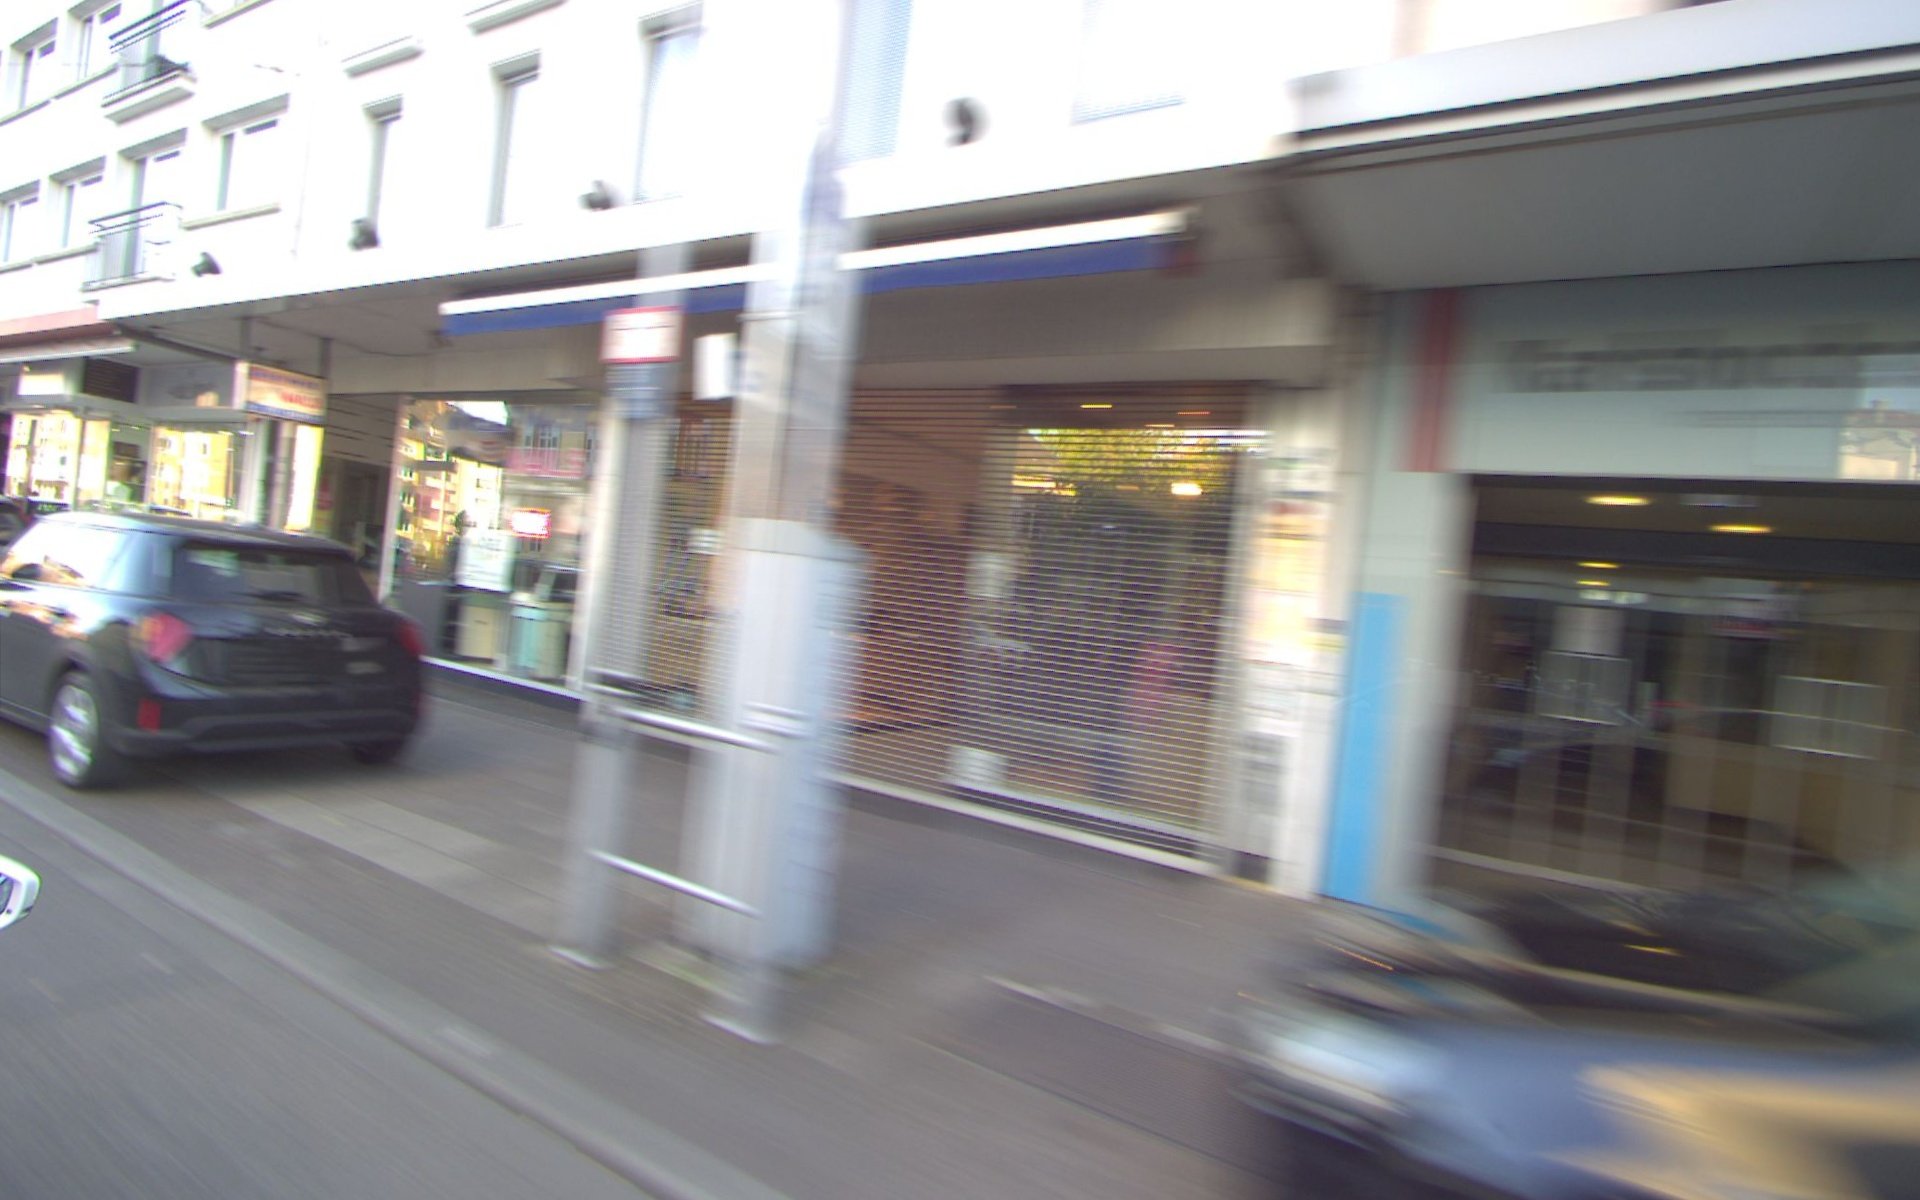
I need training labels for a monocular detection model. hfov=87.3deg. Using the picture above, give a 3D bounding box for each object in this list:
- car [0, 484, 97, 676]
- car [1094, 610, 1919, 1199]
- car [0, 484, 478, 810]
[{"bbox_3d":[-10.098,-0.426,9.198,4.775,1.550,1.796,6,-2,31],"label":"car"},{"bbox_3d":[2.457,1.053,1.703,4.004,1.530,1.769,6,-2,32],"label":"car"},{"bbox_3d":[-5.197,0.164,6.548,3.934,1.498,1.730,6,-2,32],"label":"car"}]
